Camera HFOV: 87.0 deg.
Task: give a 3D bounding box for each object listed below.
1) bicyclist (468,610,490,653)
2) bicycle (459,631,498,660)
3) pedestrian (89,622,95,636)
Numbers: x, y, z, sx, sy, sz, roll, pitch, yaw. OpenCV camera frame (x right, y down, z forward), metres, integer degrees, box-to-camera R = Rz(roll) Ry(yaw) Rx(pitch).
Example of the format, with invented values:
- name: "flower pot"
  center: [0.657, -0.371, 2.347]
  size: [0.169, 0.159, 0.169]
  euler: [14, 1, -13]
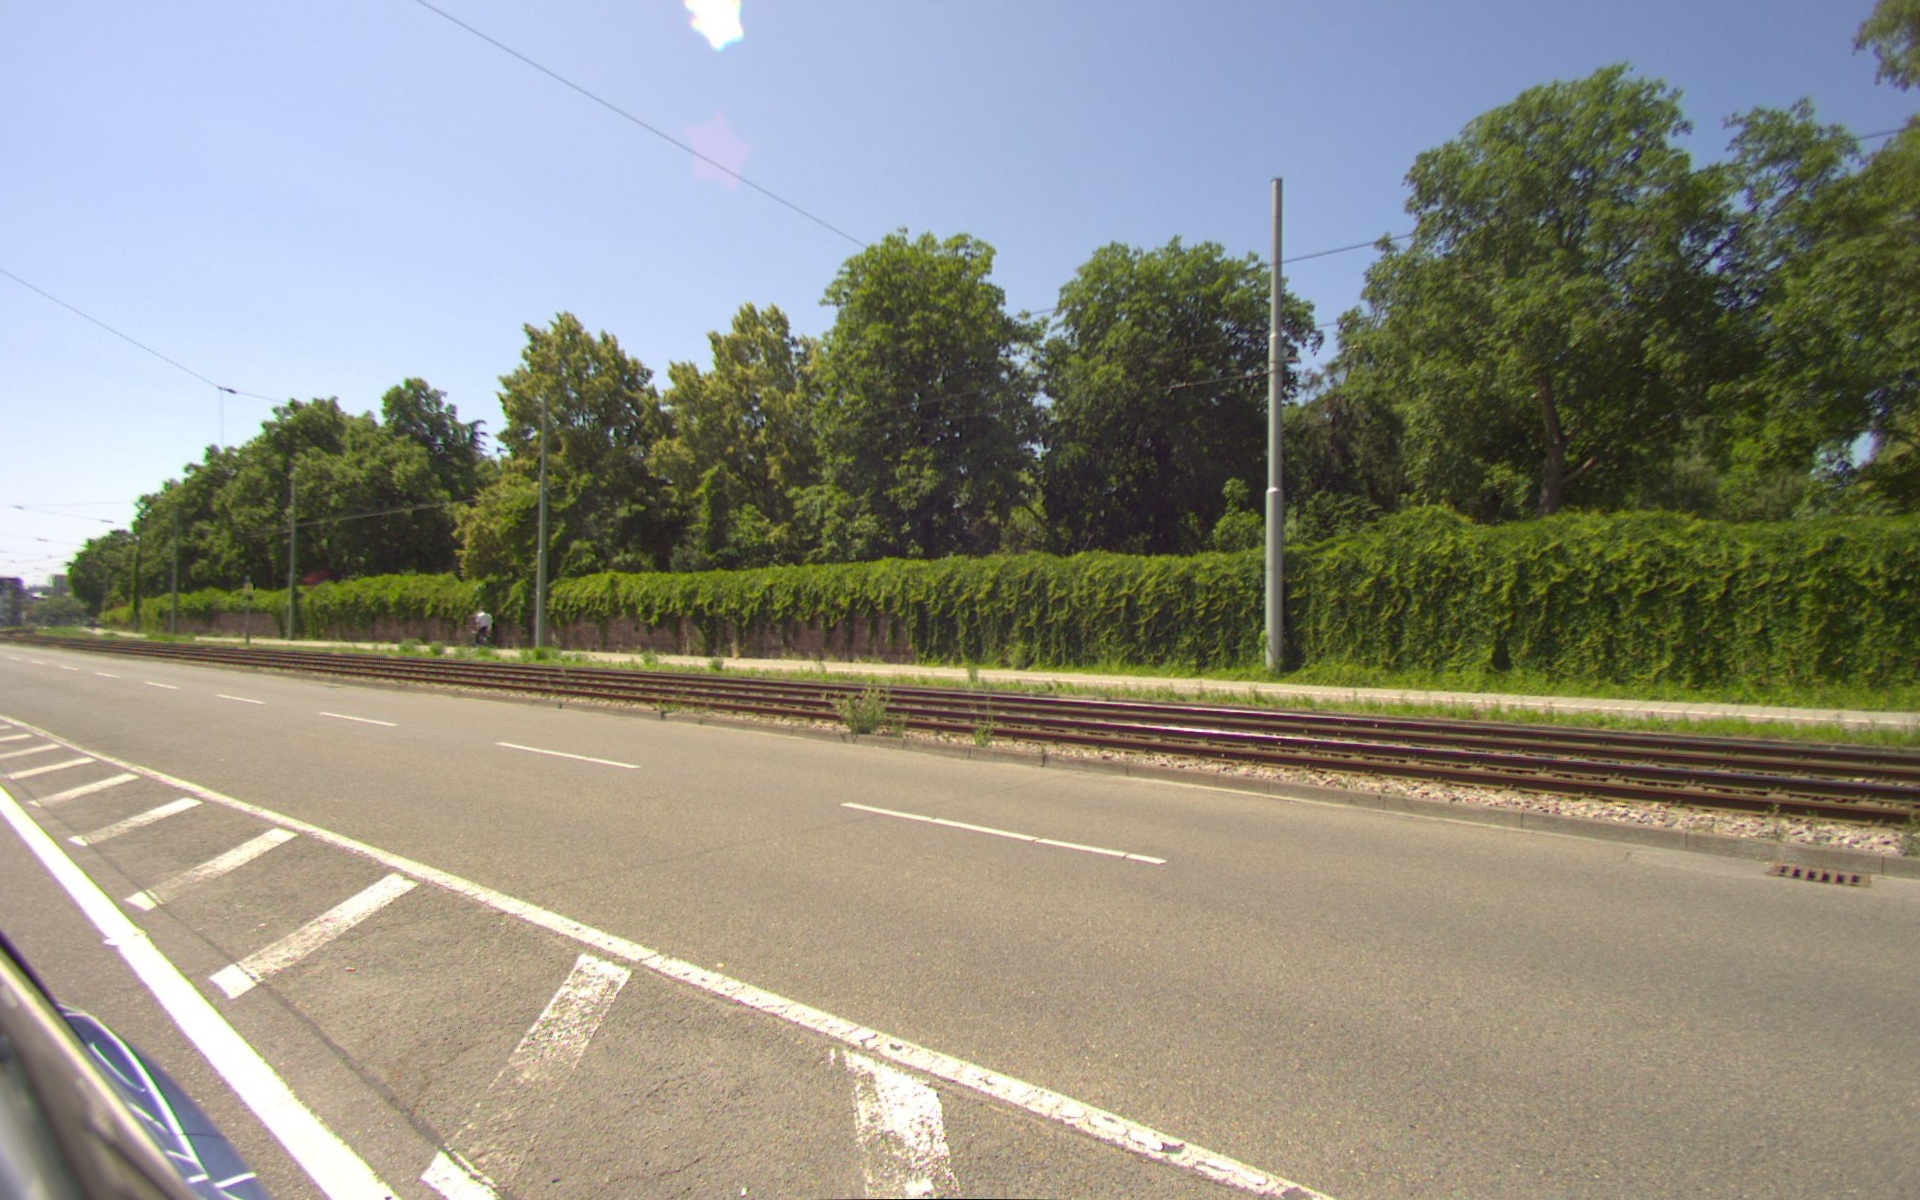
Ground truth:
- name: "bicyclist"
  center: [-18.449, 1.210, 38.810]
  size: [0.768, 1.624, 0.477]
  euler: [-1, 0, 41]
- name: "bicycle"
  center: [-18.525, 1.723, 38.904]
  size: [1.977, 1.063, 0.610]
  euler: [-1, 0, 41]
- name: "pedestrian"
  center: [-106.001, 3.493, 123.610]
  size: [0.302, 1.677, 0.447]
  euler: [-2, -1, 41]
